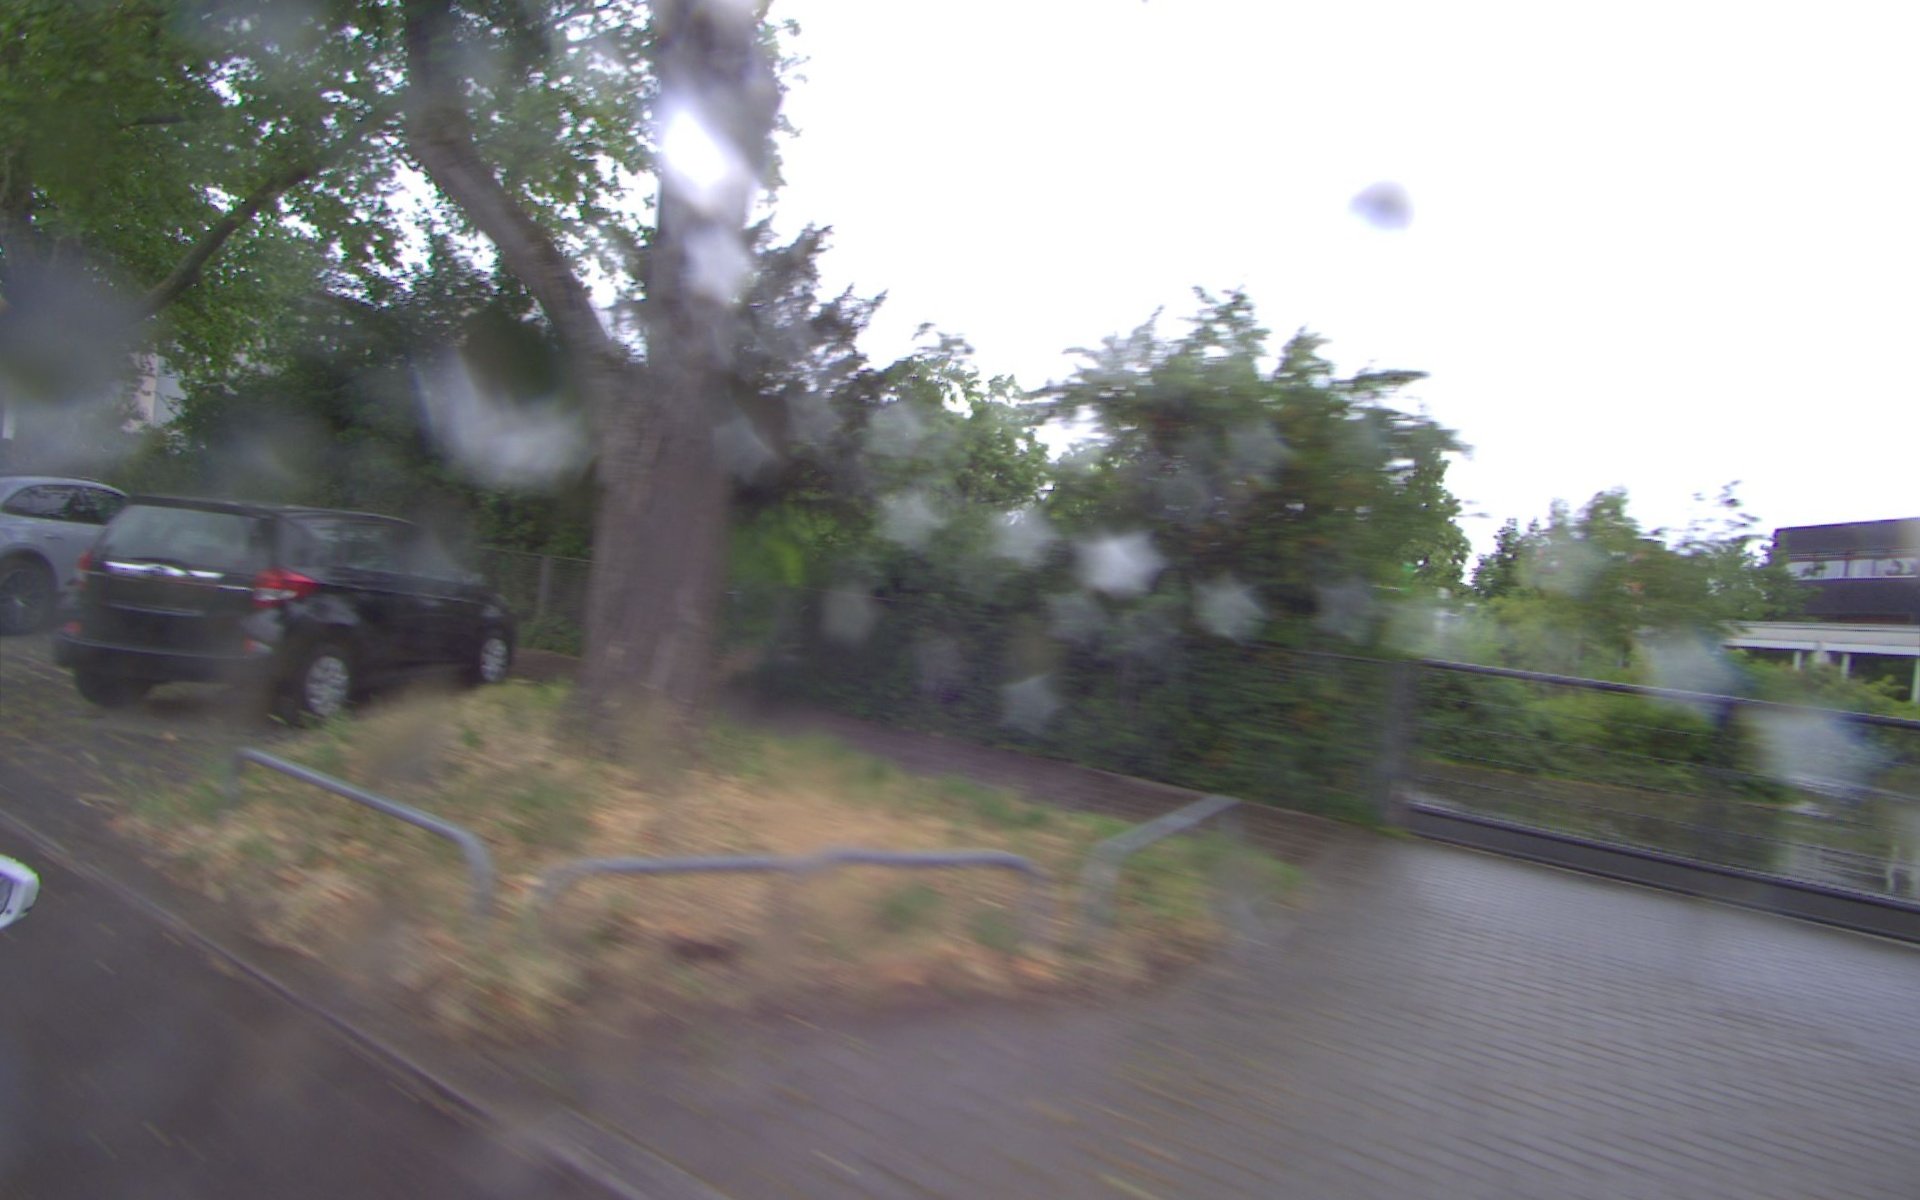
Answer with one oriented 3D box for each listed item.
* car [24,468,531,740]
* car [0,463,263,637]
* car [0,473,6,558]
[{"bbox_3d":[-5.239,0.023,8.405,1.589,1.586,3.713,7,0,-1],"label":"car"},{"bbox_3d":[-10.415,-0.611,11.312,1.959,1.689,4.770,7,0,-4],"label":"car"},{"bbox_3d":[-19.304,-1.714,17.299,1.589,1.586,3.866,7,1,18],"label":"car"}]
